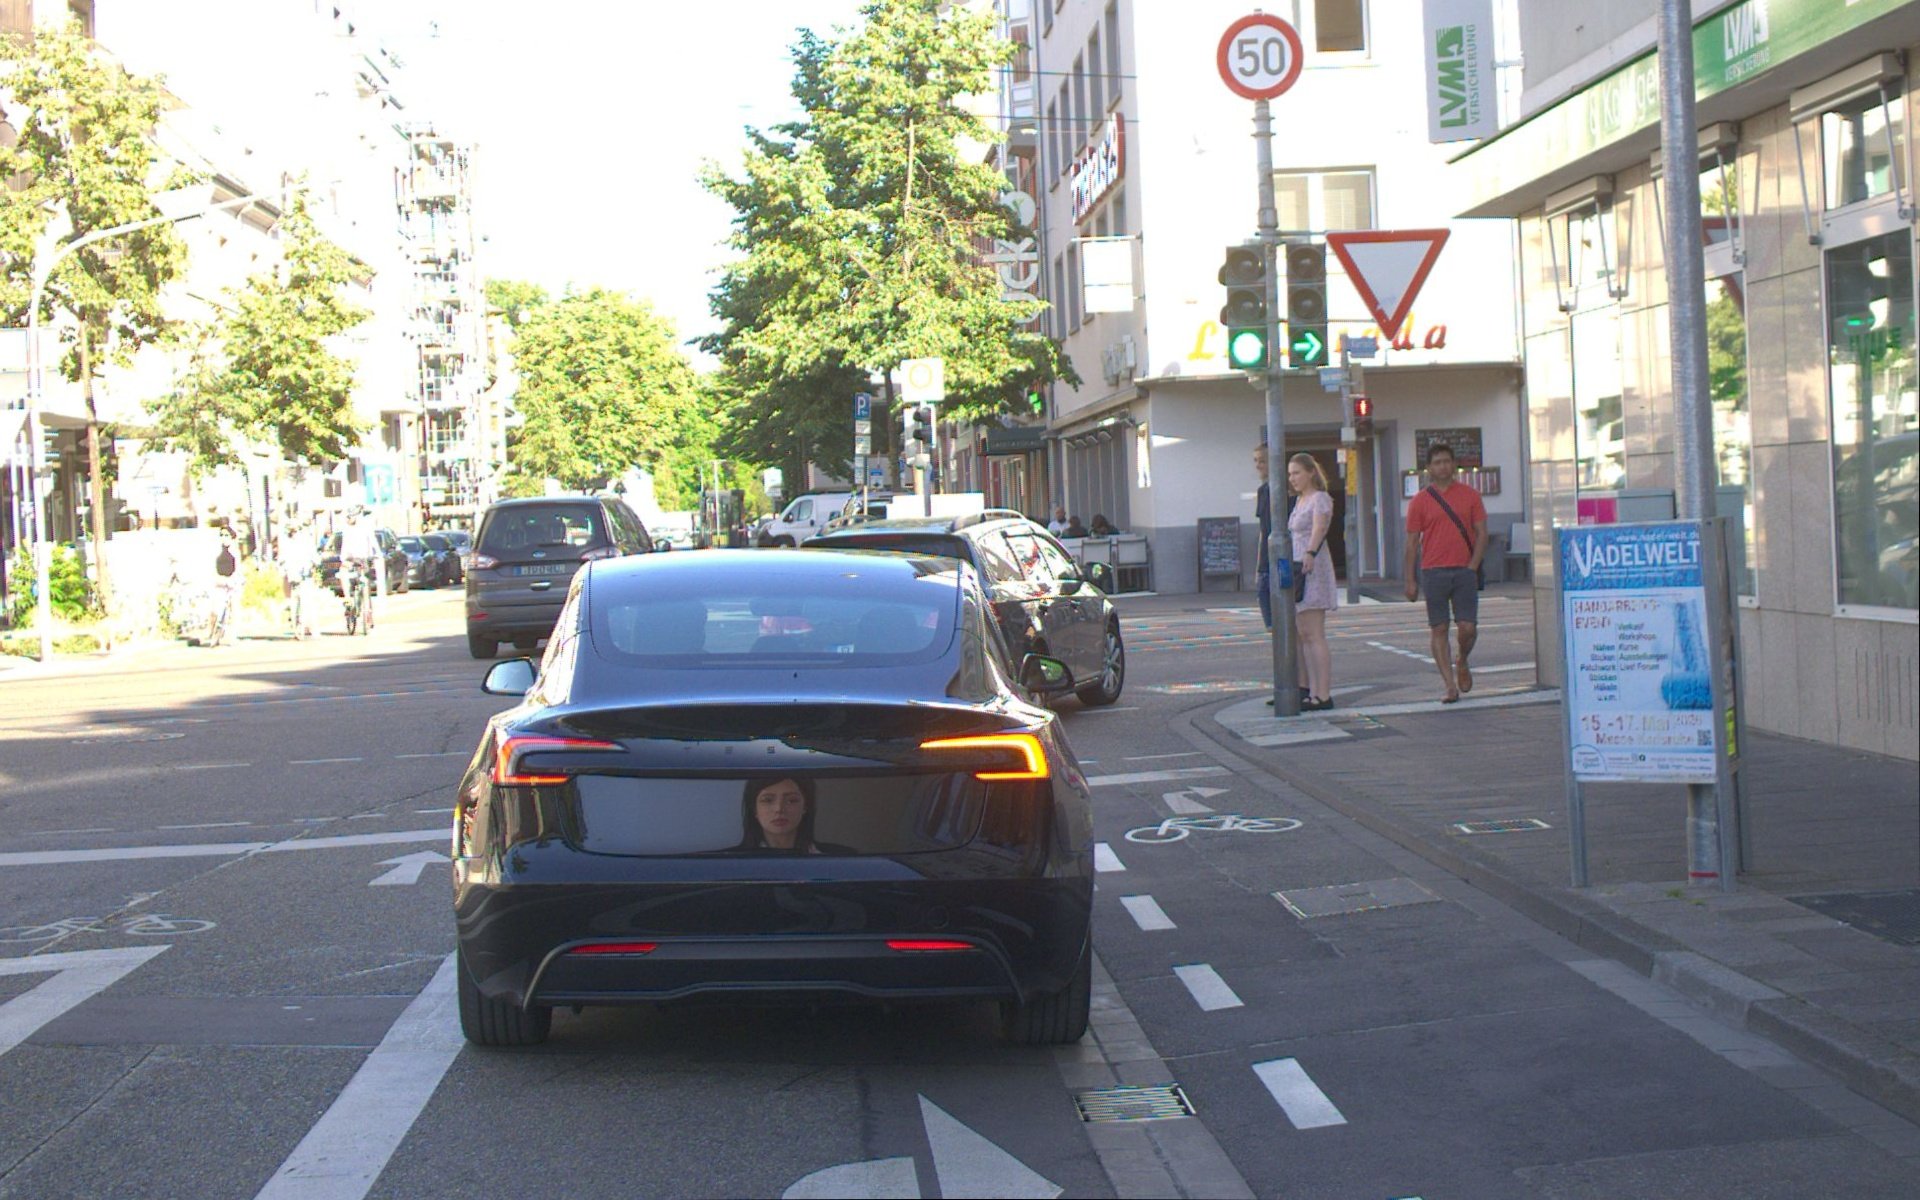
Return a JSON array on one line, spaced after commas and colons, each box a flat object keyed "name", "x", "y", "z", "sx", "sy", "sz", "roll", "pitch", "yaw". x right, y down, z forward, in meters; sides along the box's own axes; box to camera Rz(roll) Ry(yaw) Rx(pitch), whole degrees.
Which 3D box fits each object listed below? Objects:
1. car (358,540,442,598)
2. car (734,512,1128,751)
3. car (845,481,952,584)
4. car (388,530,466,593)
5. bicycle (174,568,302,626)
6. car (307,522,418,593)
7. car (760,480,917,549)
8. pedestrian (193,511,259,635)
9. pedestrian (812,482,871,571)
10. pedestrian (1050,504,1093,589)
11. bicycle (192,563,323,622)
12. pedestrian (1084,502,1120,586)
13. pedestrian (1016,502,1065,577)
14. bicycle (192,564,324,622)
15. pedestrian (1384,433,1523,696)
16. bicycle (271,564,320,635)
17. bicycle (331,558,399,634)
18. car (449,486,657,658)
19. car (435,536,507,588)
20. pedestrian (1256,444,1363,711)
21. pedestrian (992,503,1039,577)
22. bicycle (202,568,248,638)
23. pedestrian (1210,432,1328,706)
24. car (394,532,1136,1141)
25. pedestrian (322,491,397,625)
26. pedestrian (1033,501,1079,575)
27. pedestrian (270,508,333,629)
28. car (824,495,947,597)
[{"name": "car", "x": -14.736, "y": -0.837, "z": 90.658, "sx": 1.786, "sy": 1.397, "sz": 3.907, "roll": -2, "pitch": 2, "yaw": -4}, {"name": "car", "x": -0.085, "y": 0.147, "z": 23.364, "sx": 1.762, "sy": 1.414, "sz": 4.353, "roll": -2, "pitch": 1, "yaw": 12}, {"name": "car", "x": -1.222, "y": -1.320, "z": 66.410, "sx": 1.904, "sy": 1.845, "sz": 4.289, "roll": -2, "pitch": 2, "yaw": -2}, {"name": "car", "x": -14.782, "y": -1.091, "z": 95.509, "sx": 1.718, "sy": 1.604, "sz": 3.598, "roll": -3, "pitch": 2, "yaw": -3}, {"name": "bicycle", "x": -13.220, "y": -0.060, "z": 62.954, "sx": 2.219, "sy": 0.955, "sz": 0.656, "roll": -3, "pitch": 1, "yaw": -14}, {"name": "car", "x": -14.348, "y": -1.036, "z": 82.700, "sx": 1.993, "sy": 1.592, "sz": 4.001, "roll": -2, "pitch": 2, "yaw": -1}, {"name": "car", "x": -4.314, "y": -3.016, "z": 121.619, "sx": 5.391, "sy": 2.138, "sz": 2.000, "roll": -3, "pitch": 1, "yaw": -3}, {"name": "pedestrian", "x": -10.353, "y": -0.384, "z": 48.463, "sx": 0.790, "sy": 1.706, "sz": 0.654, "roll": -2, "pitch": 2, "yaw": -17}, {"name": "pedestrian", "x": -2.626, "y": -1.644, "z": 76.401, "sx": 0.958, "sy": 1.909, "sz": 1.104, "roll": -3, "pitch": 1, "yaw": 14}, {"name": "pedestrian", "x": 1.764, "y": -0.854, "z": 54.412, "sx": 0.586, "sy": 1.308, "sz": 0.560, "roll": -3, "pitch": 1, "yaw": -2}, {"name": "bicycle", "x": -13.452, "y": -0.155, "z": 65.831, "sx": 2.396, "sy": 1.002, "sz": 0.656, "roll": -3, "pitch": 1, "yaw": -13}, {"name": "pedestrian", "x": 2.281, "y": -0.901, "z": 55.210, "sx": 0.488, "sy": 1.317, "sz": 0.653, "roll": -3, "pitch": 1, "yaw": 5}, {"name": "pedestrian", "x": 1.495, "y": -1.124, "z": 63.903, "sx": 0.730, "sy": 1.342, "sz": 1.060, "roll": -3, "pitch": 1, "yaw": -5}, {"name": "bicycle", "x": -13.277, "y": -0.137, "z": 65.003, "sx": 2.388, "sy": 0.974, "sz": 0.656, "roll": -3, "pitch": 1, "yaw": -12}, {"name": "pedestrian", "x": 3.321, "y": -0.247, "z": 23.205, "sx": 0.690, "sy": 1.697, "sz": 0.912, "roll": -4, "pitch": 2, "yaw": -1}, {"name": "bicycle", "x": -9.572, "y": -0.019, "z": 49.510, "sx": 0.552, "sy": 0.965, "sz": 1.795, "roll": -3, "pitch": 2, "yaw": -14}, {"name": "bicycle", "x": -8.592, "y": -0.069, "z": 49.604, "sx": 0.758, "sy": 1.004, "sz": 1.726, "roll": -6, "pitch": 2, "yaw": -14}, {"name": "car", "x": -4.451, "y": -0.354, "z": 38.184, "sx": 1.904, "sy": 1.727, "sz": 4.289, "roll": -2, "pitch": 2, "yaw": -2}, {"name": "car", "x": -14.251, "y": -1.118, "z": 100.384, "sx": 1.786, "sy": 1.397, "sz": 3.907, "roll": -2, "pitch": 2, "yaw": -4}, {"name": "pedestrian", "x": 2.349, "y": -0.155, "z": 23.127, "sx": 0.572, "sy": 1.753, "sz": 0.649, "roll": -2, "pitch": 2, "yaw": -3}, {"name": "pedestrian", "x": 1.043, "y": -1.136, "z": 64.997, "sx": 0.709, "sy": 1.342, "sz": 1.060, "roll": -3, "pitch": 1, "yaw": -6}, {"name": "bicycle", "x": -10.440, "y": 0.041, "z": 48.795, "sx": 0.480, "sy": 0.952, "sz": 1.456, "roll": -3, "pitch": 2, "yaw": -16}, {"name": "pedestrian", "x": 2.121, "y": -0.219, "z": 23.662, "sx": 0.640, "sy": 1.835, "sz": 0.682, "roll": -3, "pitch": 2, "yaw": -3}, {"name": "car", "x": -0.564, "y": 0.574, "z": 11.141, "sx": 1.869, "sy": 1.422, "sz": 4.365, "roll": -3, "pitch": 2, "yaw": -2}, {"name": "pedestrian", "x": -8.661, "y": -0.611, "z": 49.573, "sx": 0.778, "sy": 1.860, "sz": 1.002, "roll": -6, "pitch": 3, "yaw": -17}, {"name": "pedestrian", "x": 1.817, "y": -1.182, "z": 65.184, "sx": 0.730, "sy": 1.355, "sz": 0.959, "roll": -3, "pitch": 1, "yaw": -3}, {"name": "pedestrian", "x": -9.511, "y": -0.458, "z": 49.632, "sx": 0.778, "sy": 1.722, "sz": 0.559, "roll": -2, "pitch": 2, "yaw": -17}, {"name": "car", "x": -1.333, "y": -0.971, "z": 59.979, "sx": 2.001, "sy": 1.630, "sz": 4.289, "roll": -2, "pitch": 2, "yaw": -2}]
